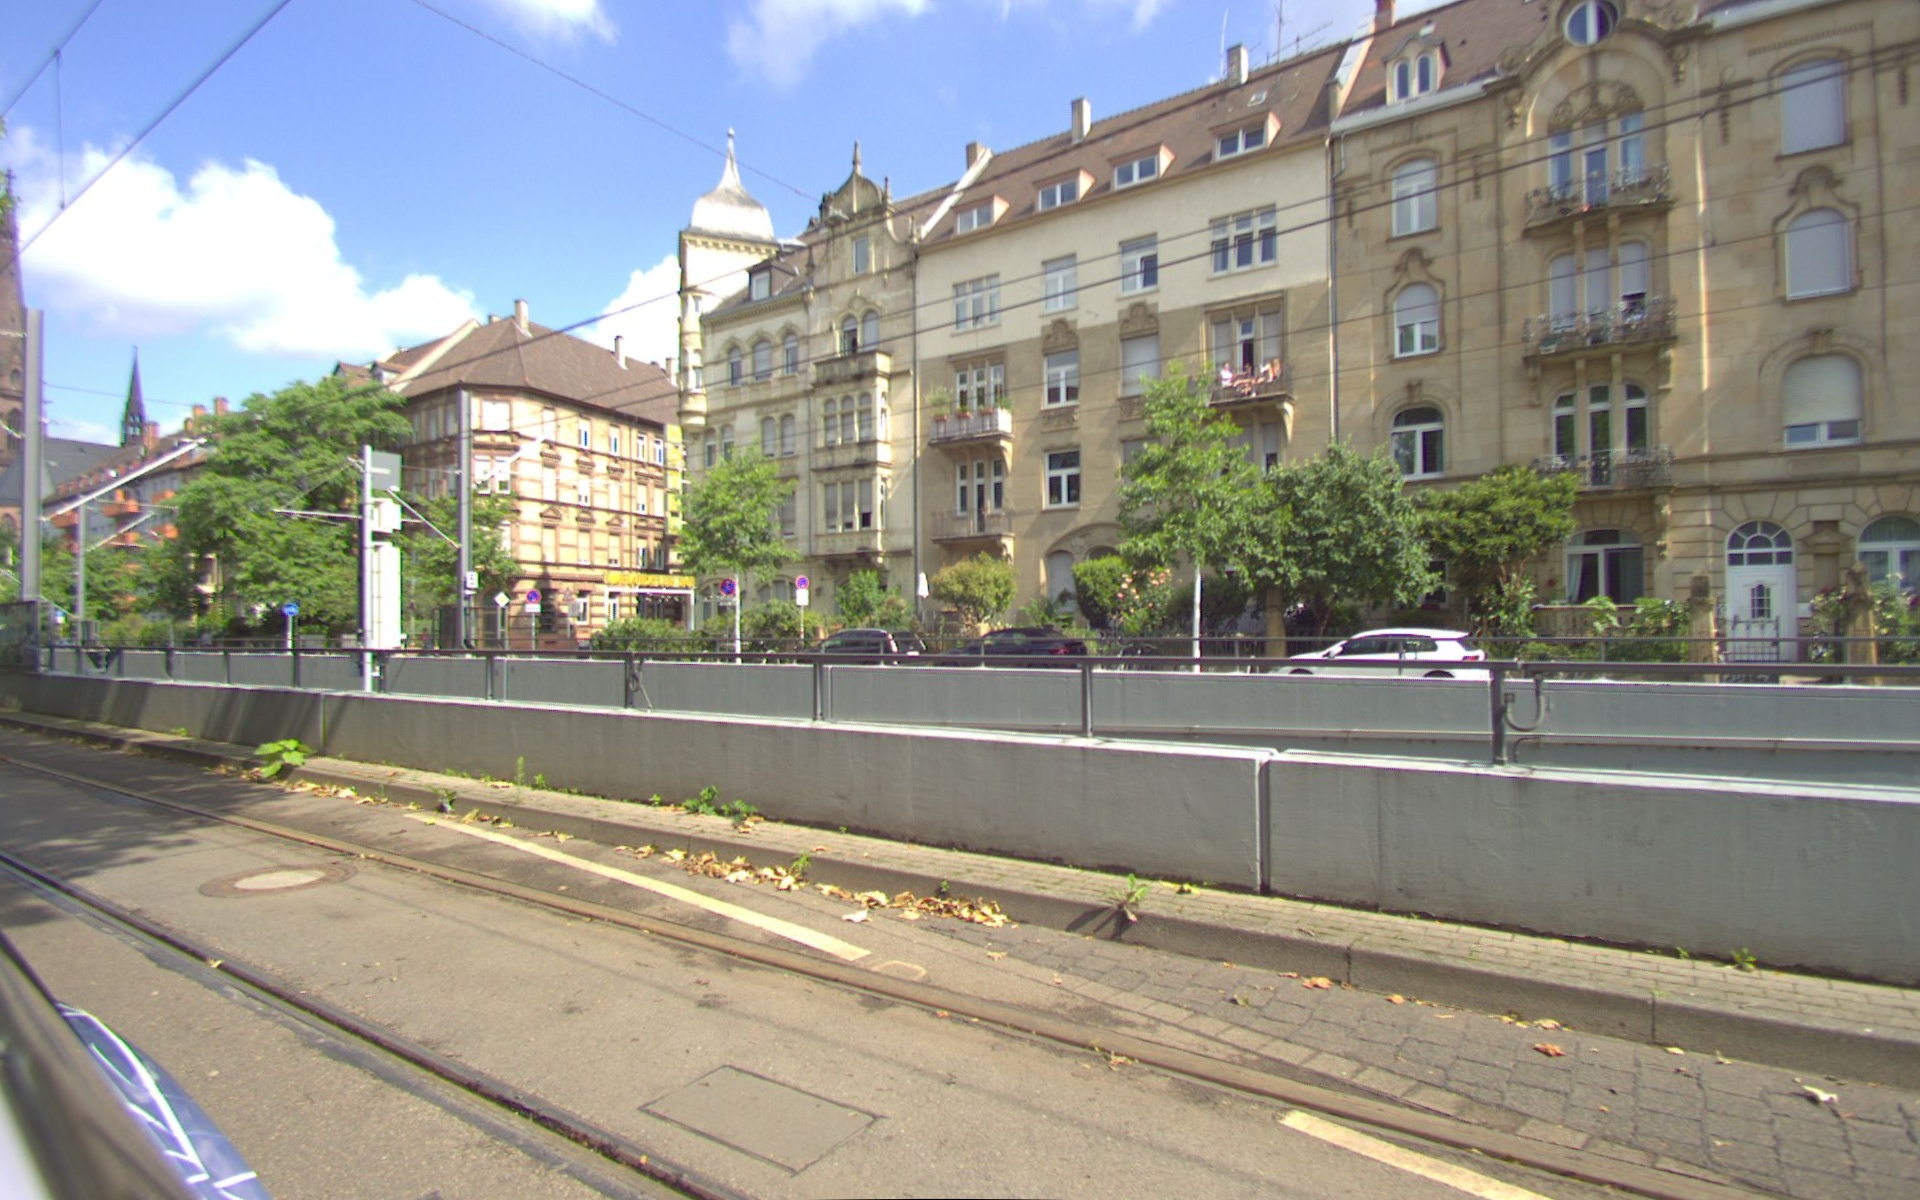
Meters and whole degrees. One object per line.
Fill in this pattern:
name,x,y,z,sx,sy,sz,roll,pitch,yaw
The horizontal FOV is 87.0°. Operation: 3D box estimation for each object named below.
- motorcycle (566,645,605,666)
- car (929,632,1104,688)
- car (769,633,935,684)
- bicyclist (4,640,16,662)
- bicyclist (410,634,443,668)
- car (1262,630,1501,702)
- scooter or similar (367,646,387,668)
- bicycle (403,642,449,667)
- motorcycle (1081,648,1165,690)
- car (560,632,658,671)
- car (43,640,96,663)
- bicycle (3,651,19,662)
motorcycle,-18.645,2.767,50.378,1.988,1.002,0.519,-1,-2,24
car,1.434,1.521,26.132,4.089,1.337,2.003,-2,-2,34
car,-3.164,1.663,29.185,4.716,1.337,1.931,-2,-2,36
bicyclist,-69.430,3.724,73.996,0.606,1.556,0.499,-2,-3,35
bicyclist,-21.372,2.044,40.551,1.047,1.348,0.761,-2,-4,36
car,8.648,1.314,20.885,4.301,1.338,1.737,-2,-3,34
scooter or similar,-31.048,3.032,53.897,1.285,1.090,0.373,-2,0,35
bicycle,-21.393,2.172,40.537,2.136,0.986,0.769,-2,-4,36
motorcycle,3.938,1.642,24.341,1.414,0.949,1.745,-2,-4,34
car,-15.693,2.262,45.435,2.026,1.618,3.927,-2,-2,26
car,-64.265,3.715,73.033,4.104,1.650,1.976,-2,-3,35
bicycle,-69.353,4.113,73.977,1.812,0.774,0.492,-2,-3,35
